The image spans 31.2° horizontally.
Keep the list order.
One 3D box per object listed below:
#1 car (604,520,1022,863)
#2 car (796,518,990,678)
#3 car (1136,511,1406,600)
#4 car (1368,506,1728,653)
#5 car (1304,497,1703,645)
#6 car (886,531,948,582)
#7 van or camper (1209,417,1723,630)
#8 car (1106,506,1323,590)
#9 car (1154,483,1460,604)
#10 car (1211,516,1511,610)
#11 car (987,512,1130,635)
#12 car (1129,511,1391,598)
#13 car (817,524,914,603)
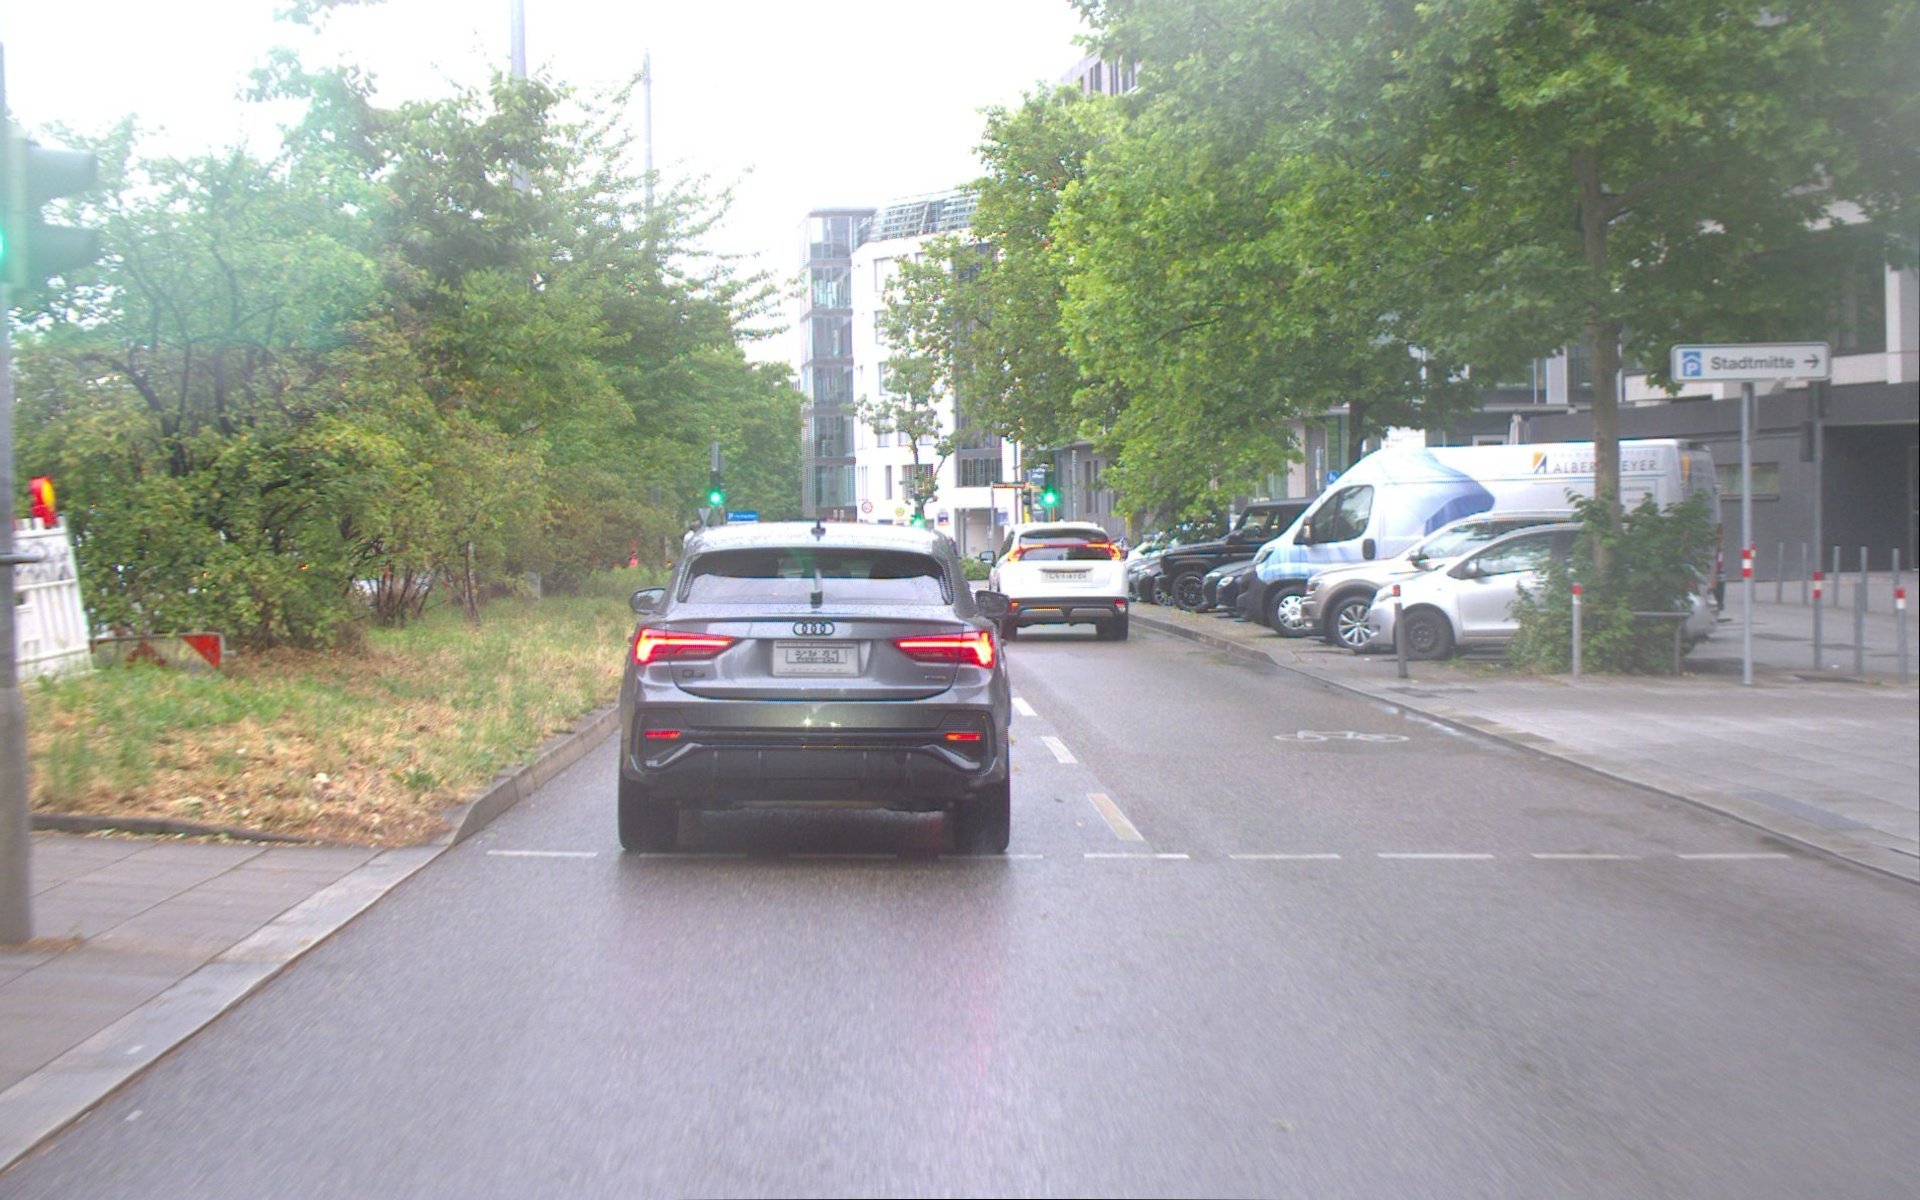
[{"bbox_3d":[-0.703,0.371,17.237,1.849,1.518,4.039,0,1,-2],"label":"car"},{"bbox_3d":[-0.664,-0.054,34.702,1.849,1.518,4.039,0,1,-1],"label":"car"},{"bbox_3d":[5.720,-0.812,63.193,4.559,1.501,1.867,-1,1,24],"label":"car"},{"bbox_3d":[6.433,-0.244,37.534,3.652,1.542,1.713,0,1,18],"label":"car"},{"bbox_3d":[6.348,-0.361,40.180,4.262,1.662,1.816,1,1,25],"label":"car"},{"bbox_3d":[-1.294,-1.318,104.308,1.849,1.518,4.039,0,1,-1],"label":"car"},{"bbox_3d":[6.377,-0.935,43.487,6.074,2.549,2.102,0,1,26],"label":"van or camper"},{"bbox_3d":[5.449,-1.112,73.681,4.223,1.663,1.836,-1,1,26],"label":"car"},{"bbox_3d":[6.073,-0.990,60.282,4.943,1.971,1.927,-1,1,25],"label":"car"},{"bbox_3d":[6.329,-0.582,54.324,4.370,1.431,1.759,0,1,25],"label":"car"},{"bbox_3d":[1.356,-0.395,48.795,1.849,1.663,4.039,0,1,-1],"label":"car"},{"bbox_3d":[5.803,-0.878,66.329,4.777,1.528,1.868,-1,1,14],"label":"car"},{"bbox_3d":[-1.834,-0.732,67.919,1.849,1.518,4.039,0,1,-1],"label":"car"}]
